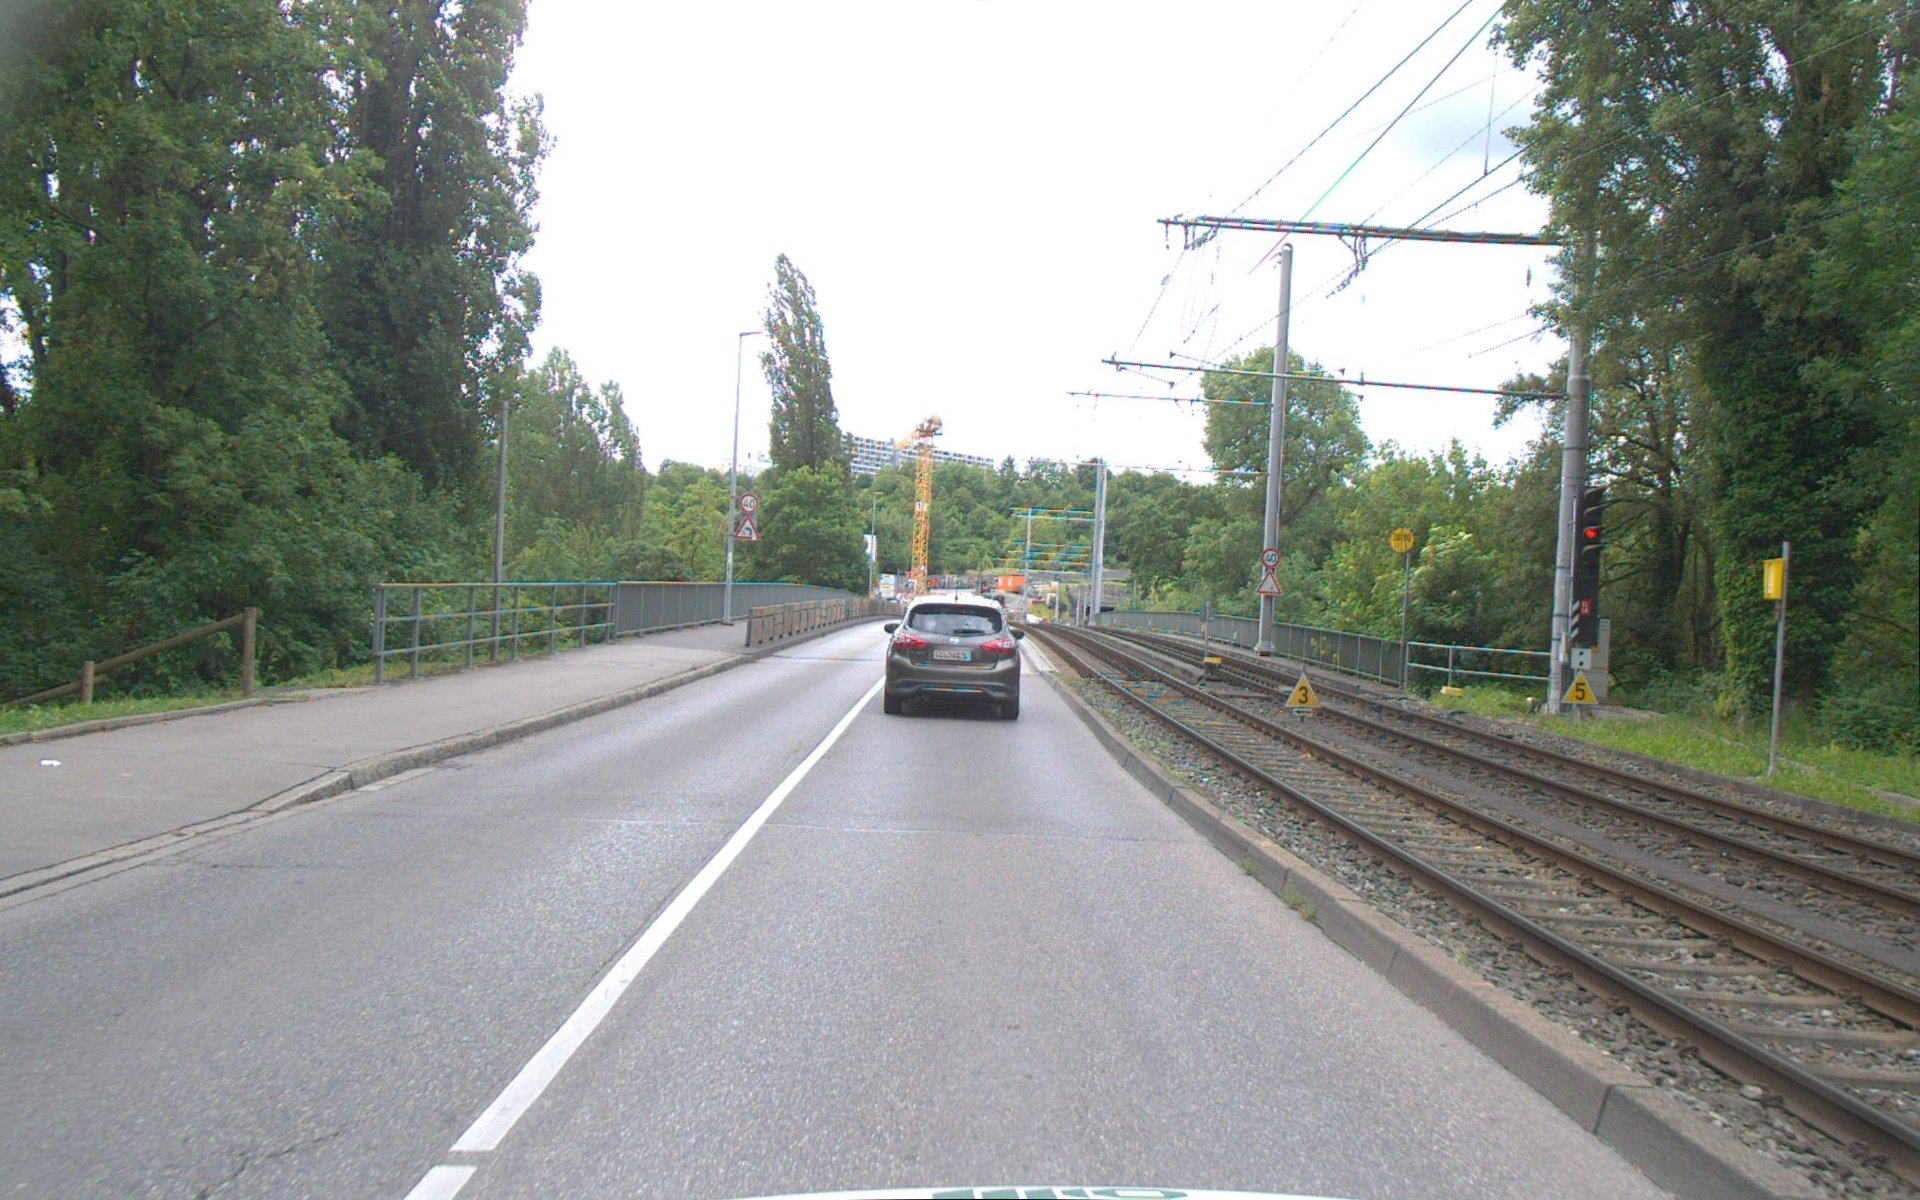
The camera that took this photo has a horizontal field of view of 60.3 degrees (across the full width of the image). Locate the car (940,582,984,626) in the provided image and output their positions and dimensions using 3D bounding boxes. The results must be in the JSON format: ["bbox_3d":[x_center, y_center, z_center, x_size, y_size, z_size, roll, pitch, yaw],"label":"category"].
[{"bbox_3d":[0.054,0.139,69.264,1.646,1.634,4.308,4,1,-1],"label":"car"}]

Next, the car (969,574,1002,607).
[{"bbox_3d":[1.408,-0.542,90.661,1.646,1.634,4.310,4,1,1],"label":"car"}]

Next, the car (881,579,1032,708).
[{"bbox_3d":[-0.133,0.557,22.412,1.793,1.536,3.997,2,-1,-3],"label":"car"}]
